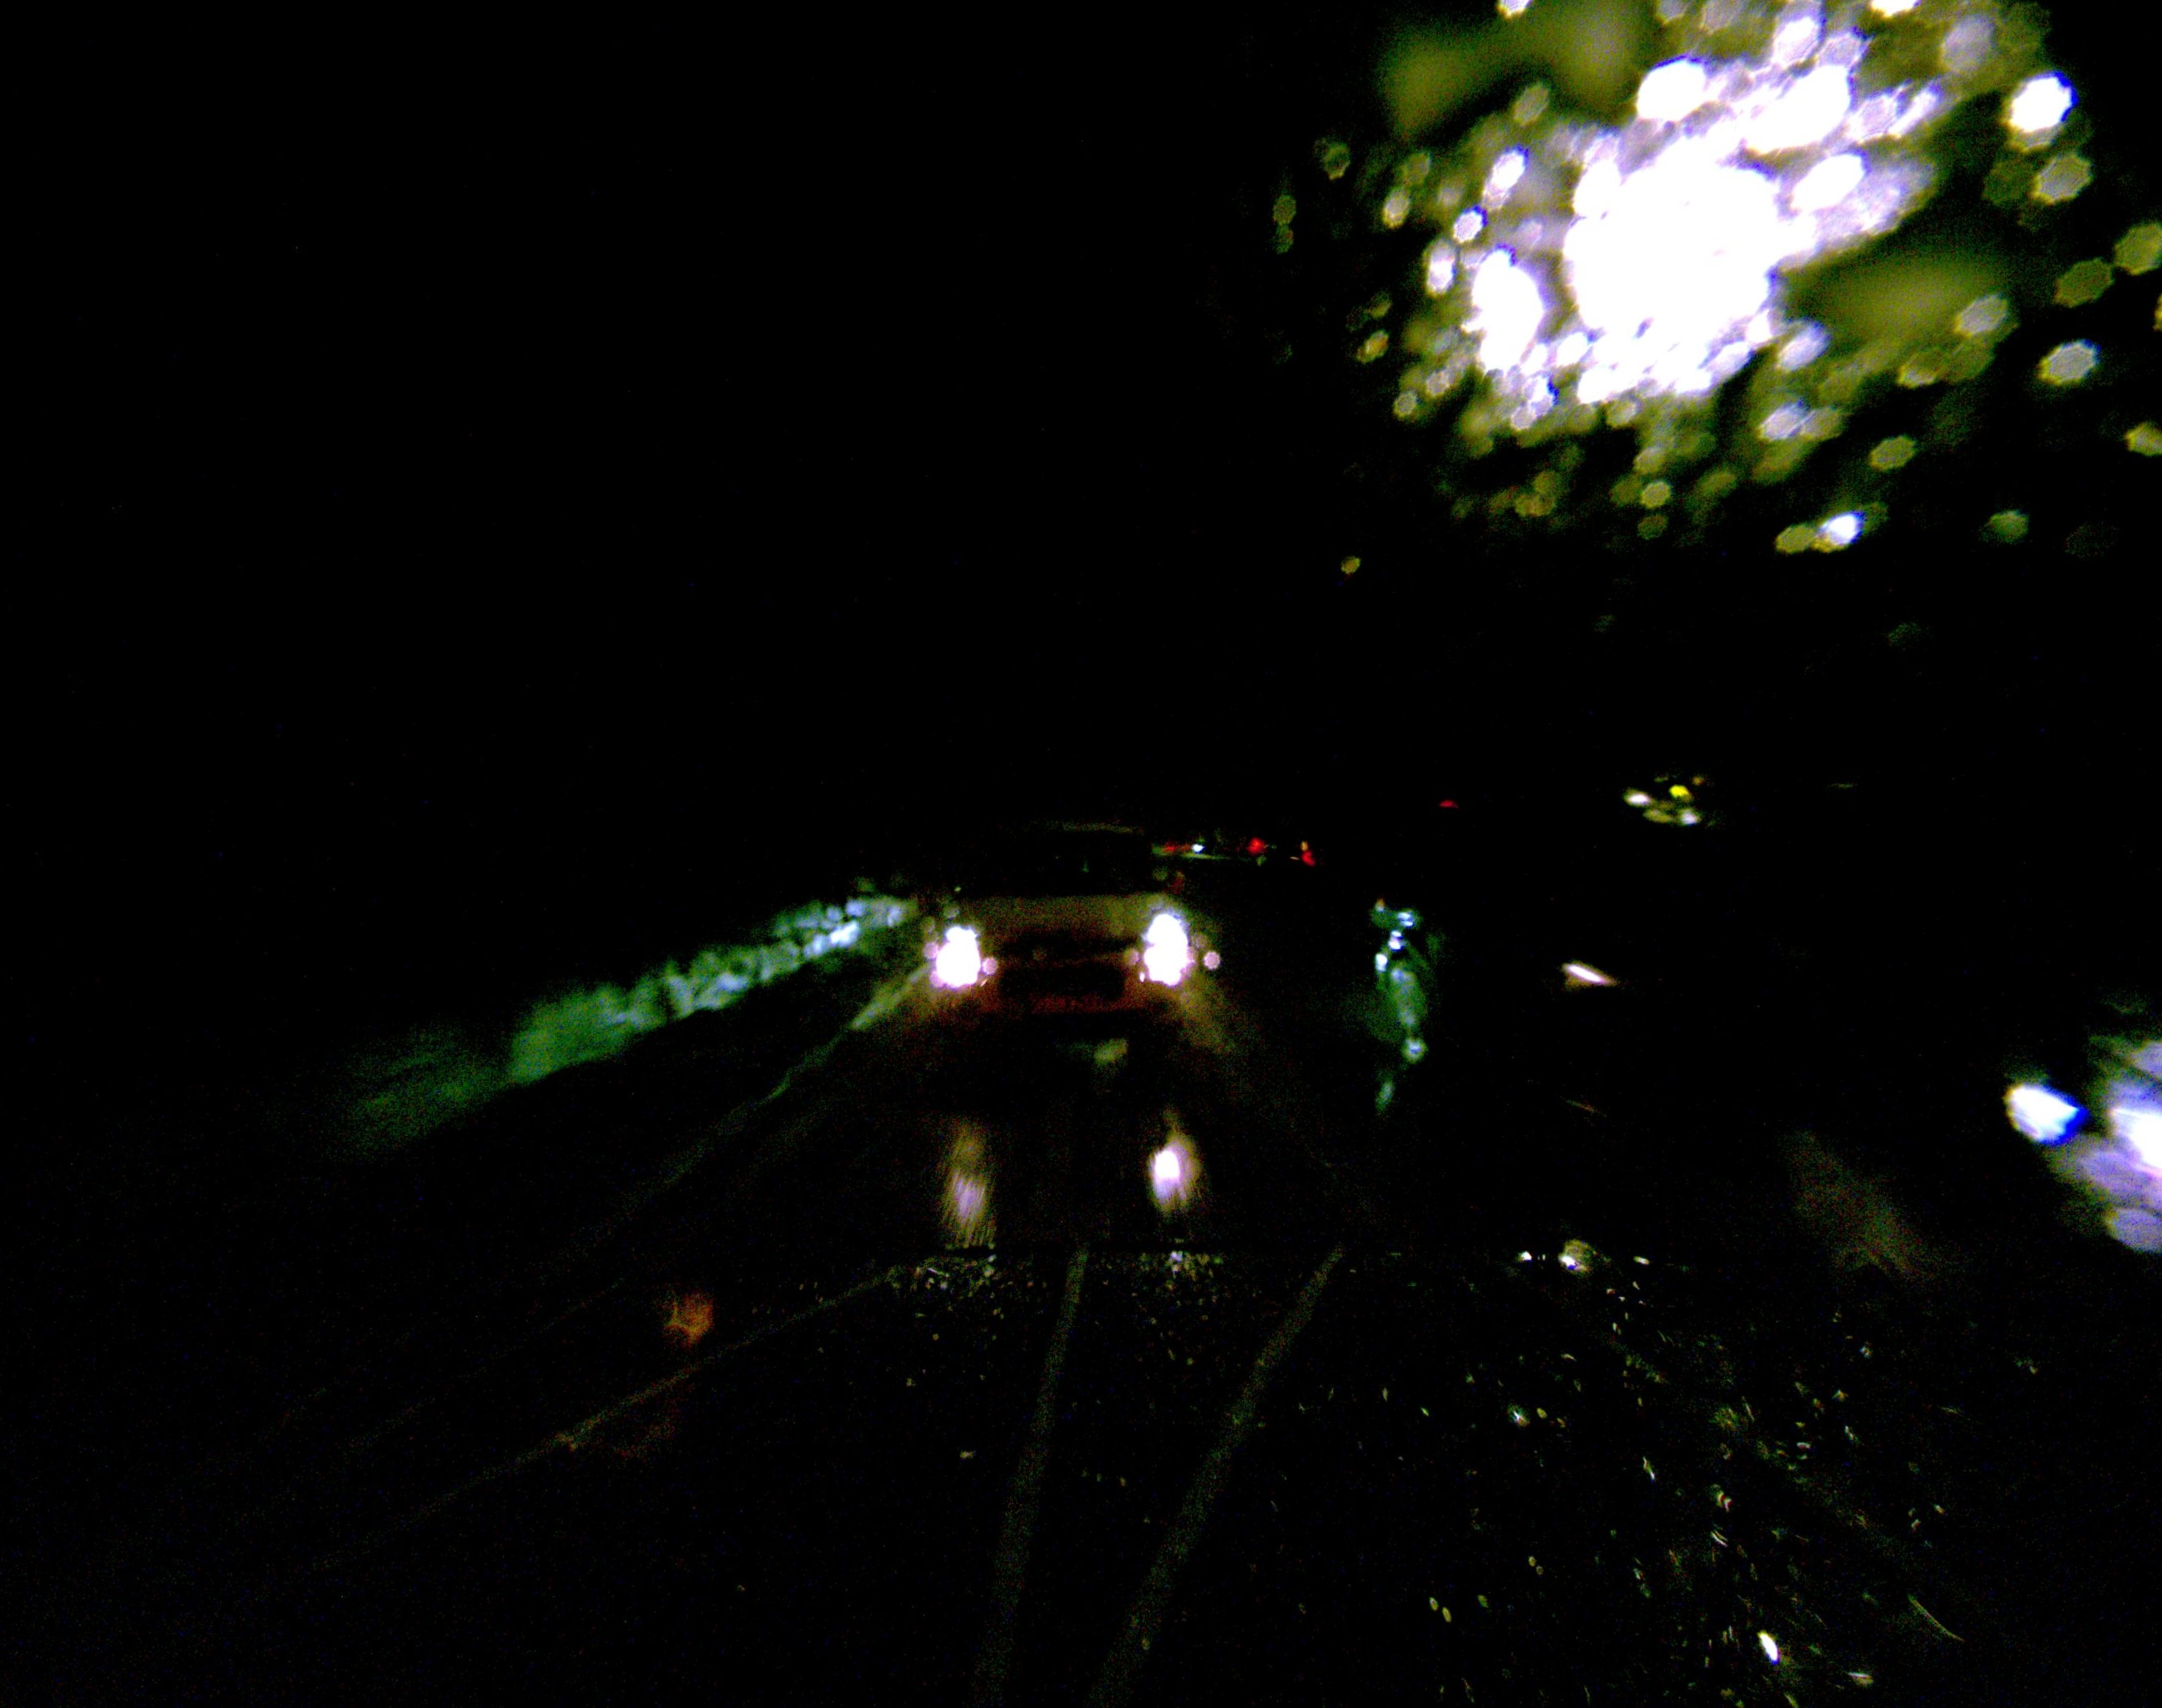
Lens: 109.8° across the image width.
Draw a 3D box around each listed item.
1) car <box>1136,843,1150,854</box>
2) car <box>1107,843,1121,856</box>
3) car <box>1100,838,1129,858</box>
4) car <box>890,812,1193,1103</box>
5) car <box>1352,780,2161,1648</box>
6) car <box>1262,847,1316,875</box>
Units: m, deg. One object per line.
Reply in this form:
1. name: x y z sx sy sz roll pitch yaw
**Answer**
1. car: 9.410 -0.866 115.498 1.750 1.495 4.891 -1 2 1
2. car: 5.356 -0.719 122.050 1.998 2.002 4.001 -1 1 6
3. car: 2.742 -0.516 62.914 1.999 1.456 3.997 -1 2 -2
4. car: -0.128 0.626 6.891 1.877 1.825 4.205 -1 1 3
5. car: 3.056 0.661 3.401 1.914 1.694 4.938 -1 1 0
6. car: 12.310 0.377 45.205 1.658 1.490 4.372 2 1 -5
